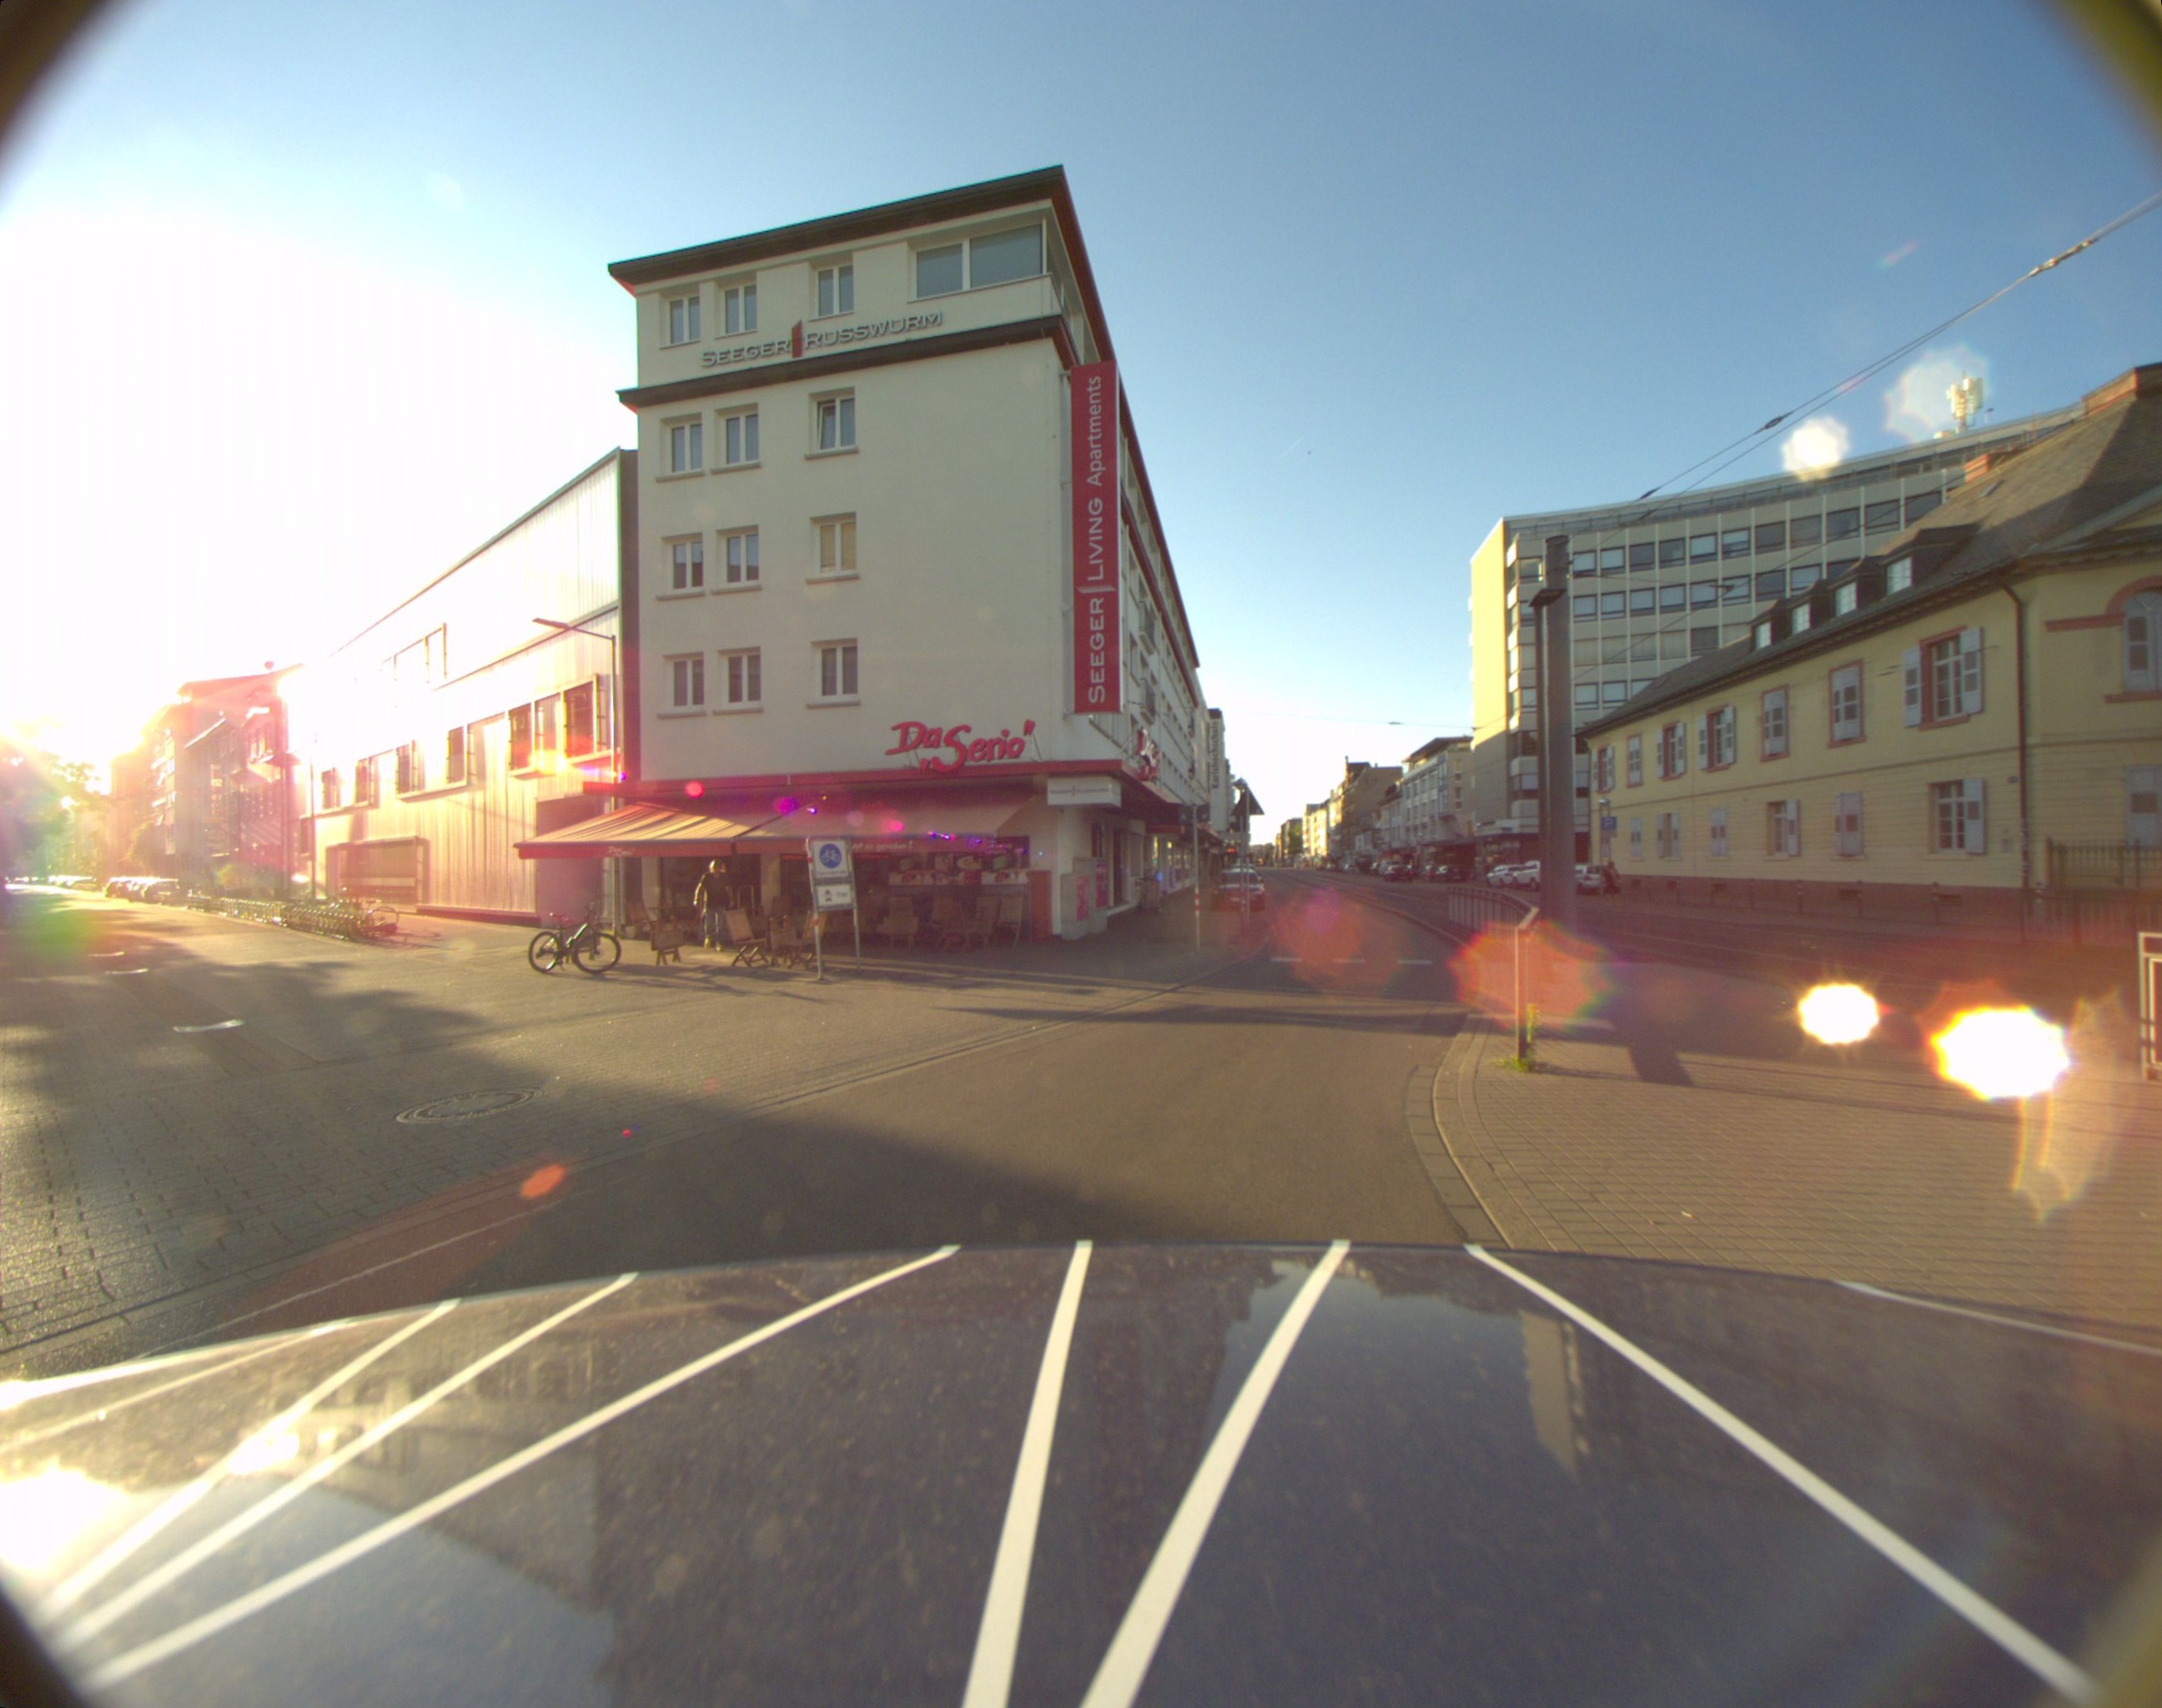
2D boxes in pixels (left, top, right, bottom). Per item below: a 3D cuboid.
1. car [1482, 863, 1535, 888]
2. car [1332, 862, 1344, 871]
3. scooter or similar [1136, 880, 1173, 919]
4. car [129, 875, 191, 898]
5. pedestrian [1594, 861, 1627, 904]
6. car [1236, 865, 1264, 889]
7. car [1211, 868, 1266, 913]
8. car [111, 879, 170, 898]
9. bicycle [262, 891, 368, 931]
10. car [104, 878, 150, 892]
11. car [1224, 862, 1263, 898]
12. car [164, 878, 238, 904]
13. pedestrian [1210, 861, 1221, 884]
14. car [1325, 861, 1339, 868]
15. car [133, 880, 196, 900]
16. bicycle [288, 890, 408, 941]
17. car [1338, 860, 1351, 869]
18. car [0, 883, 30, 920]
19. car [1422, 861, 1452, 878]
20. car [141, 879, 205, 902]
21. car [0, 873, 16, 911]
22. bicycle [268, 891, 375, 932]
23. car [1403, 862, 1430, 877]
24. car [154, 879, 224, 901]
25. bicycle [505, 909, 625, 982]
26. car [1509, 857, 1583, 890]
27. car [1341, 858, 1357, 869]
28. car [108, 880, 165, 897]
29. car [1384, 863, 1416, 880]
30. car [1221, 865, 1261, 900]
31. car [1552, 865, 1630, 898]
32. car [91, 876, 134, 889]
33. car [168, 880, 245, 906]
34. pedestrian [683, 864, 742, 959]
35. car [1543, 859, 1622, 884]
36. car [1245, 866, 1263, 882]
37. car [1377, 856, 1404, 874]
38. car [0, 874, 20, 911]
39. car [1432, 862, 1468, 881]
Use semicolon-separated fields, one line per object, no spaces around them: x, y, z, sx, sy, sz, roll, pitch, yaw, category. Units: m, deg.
27.347;1.337;48.723;1.723;1.444;4.288;-3;-1;12;car
48.878;2.388;144.503;1.844;1.484;3.820;-3;-1;13;car
2.347;1.436;24.355;0.336;1.187;1.435;0;-1;-34;scooter or similar
-64.566;2.271;53.312;1.324;1.421;2.694;-3;-1;41;car
18.899;1.003;27.128;0.720;1.527;0.719;0;0;8;pedestrian
11.955;1.583;53.954;1.795;1.524;4.861;-3;-1;12;car
5.896;1.291;28.320;1.793;1.404;4.692;-3;-1;12;car
-70.783;2.587;57.210;1.445;1.239;2.694;-3;-1;35;car
-24.917;1.826;24.783;0.527;1.133;2.348;-3;-1;30;bicycle
-93.108;3.019;74.159;1.445;1.239;2.694;-1;-1;35;car
8.651;1.352;40.490;1.859;1.690;4.422;-3;-1;12;car
-51.122;2.151;44.150;1.445;1.351;2.694;-3;-1;38;car
9.272;1.257;52.343;0.734;1.564;0.968;-1;0;12;pedestrian
51.434;2.123;155.873;1.997;1.411;4.408;-3;-1;10;car
-62.201;2.430;51.595;1.346;1.239;2.694;-3;-1;38;car
-20.846;1.710;21.691;0.604;1.225;2.348;-1;1;30;bicycle
44.615;1.758;128.785;1.658;1.561;3.474;-3;-1;12;car
-41.559;1.795;27.270;1.999;1.337;4.153;-1;-1;-2;car
31.381;1.354;67.076;1.694;1.425;3.596;-1;-1;12;car
-59.567;2.384;49.848;1.295;1.292;2.591;-3;-1;36;car
-56.974;2.013;37.906;1.864;1.965;4.003;-2;-1;8;car
-24.419;1.812;24.483;0.527;1.138;2.348;-2;0;30;bicycle
33.694;1.562;76.374;1.793;1.452;4.096;0;-1;14;car
-55.229;2.213;47.060;1.445;1.239;2.694;-3;-1;38;car
-8.697;1.527;12.806;1.907;1.152;0.537;-1;0;15;bicycle
25.823;1.065;42.417;1.890;1.651;4.766;-3;-1;11;car
43.652;1.525;123.822;1.894;1.547;4.627;-3;-1;13;car
-74.661;2.711;60.060;1.400;1.239;2.694;-3;-1;35;car
27.262;1.451;65.109;1.769;1.368;4.227;-1;-1;12;car
7.436;1.290;35.230;1.654;1.412;4.195;-3;-1;13;car
24.722;1.301;37.019;1.751;1.465;4.005;-3;-1;12;car
-101.880;2.969;79.963;1.262;1.271;2.694;-3;-1;35;car
-48.361;2.146;42.063;1.445;1.239;2.694;-3;-1;38;car
-7.341;1.129;15.175;0.715;1.815;0.762;-2;1;1;pedestrian
34.299;1.186;52.060;3.994;1.544;1.916;-3;0;11;car
17.269;1.992;75.800;1.657;1.454;4.027;-3;-1;13;car
36.746;1.283;90.340;1.967;2.001;5.105;-3;-1;11;car
-59.474;2.115;39.865;1.843;2.001;4.003;-2;-1;8;car
30.055;1.445;61.932;1.694;1.417;3.970;-3;-1;13;car
